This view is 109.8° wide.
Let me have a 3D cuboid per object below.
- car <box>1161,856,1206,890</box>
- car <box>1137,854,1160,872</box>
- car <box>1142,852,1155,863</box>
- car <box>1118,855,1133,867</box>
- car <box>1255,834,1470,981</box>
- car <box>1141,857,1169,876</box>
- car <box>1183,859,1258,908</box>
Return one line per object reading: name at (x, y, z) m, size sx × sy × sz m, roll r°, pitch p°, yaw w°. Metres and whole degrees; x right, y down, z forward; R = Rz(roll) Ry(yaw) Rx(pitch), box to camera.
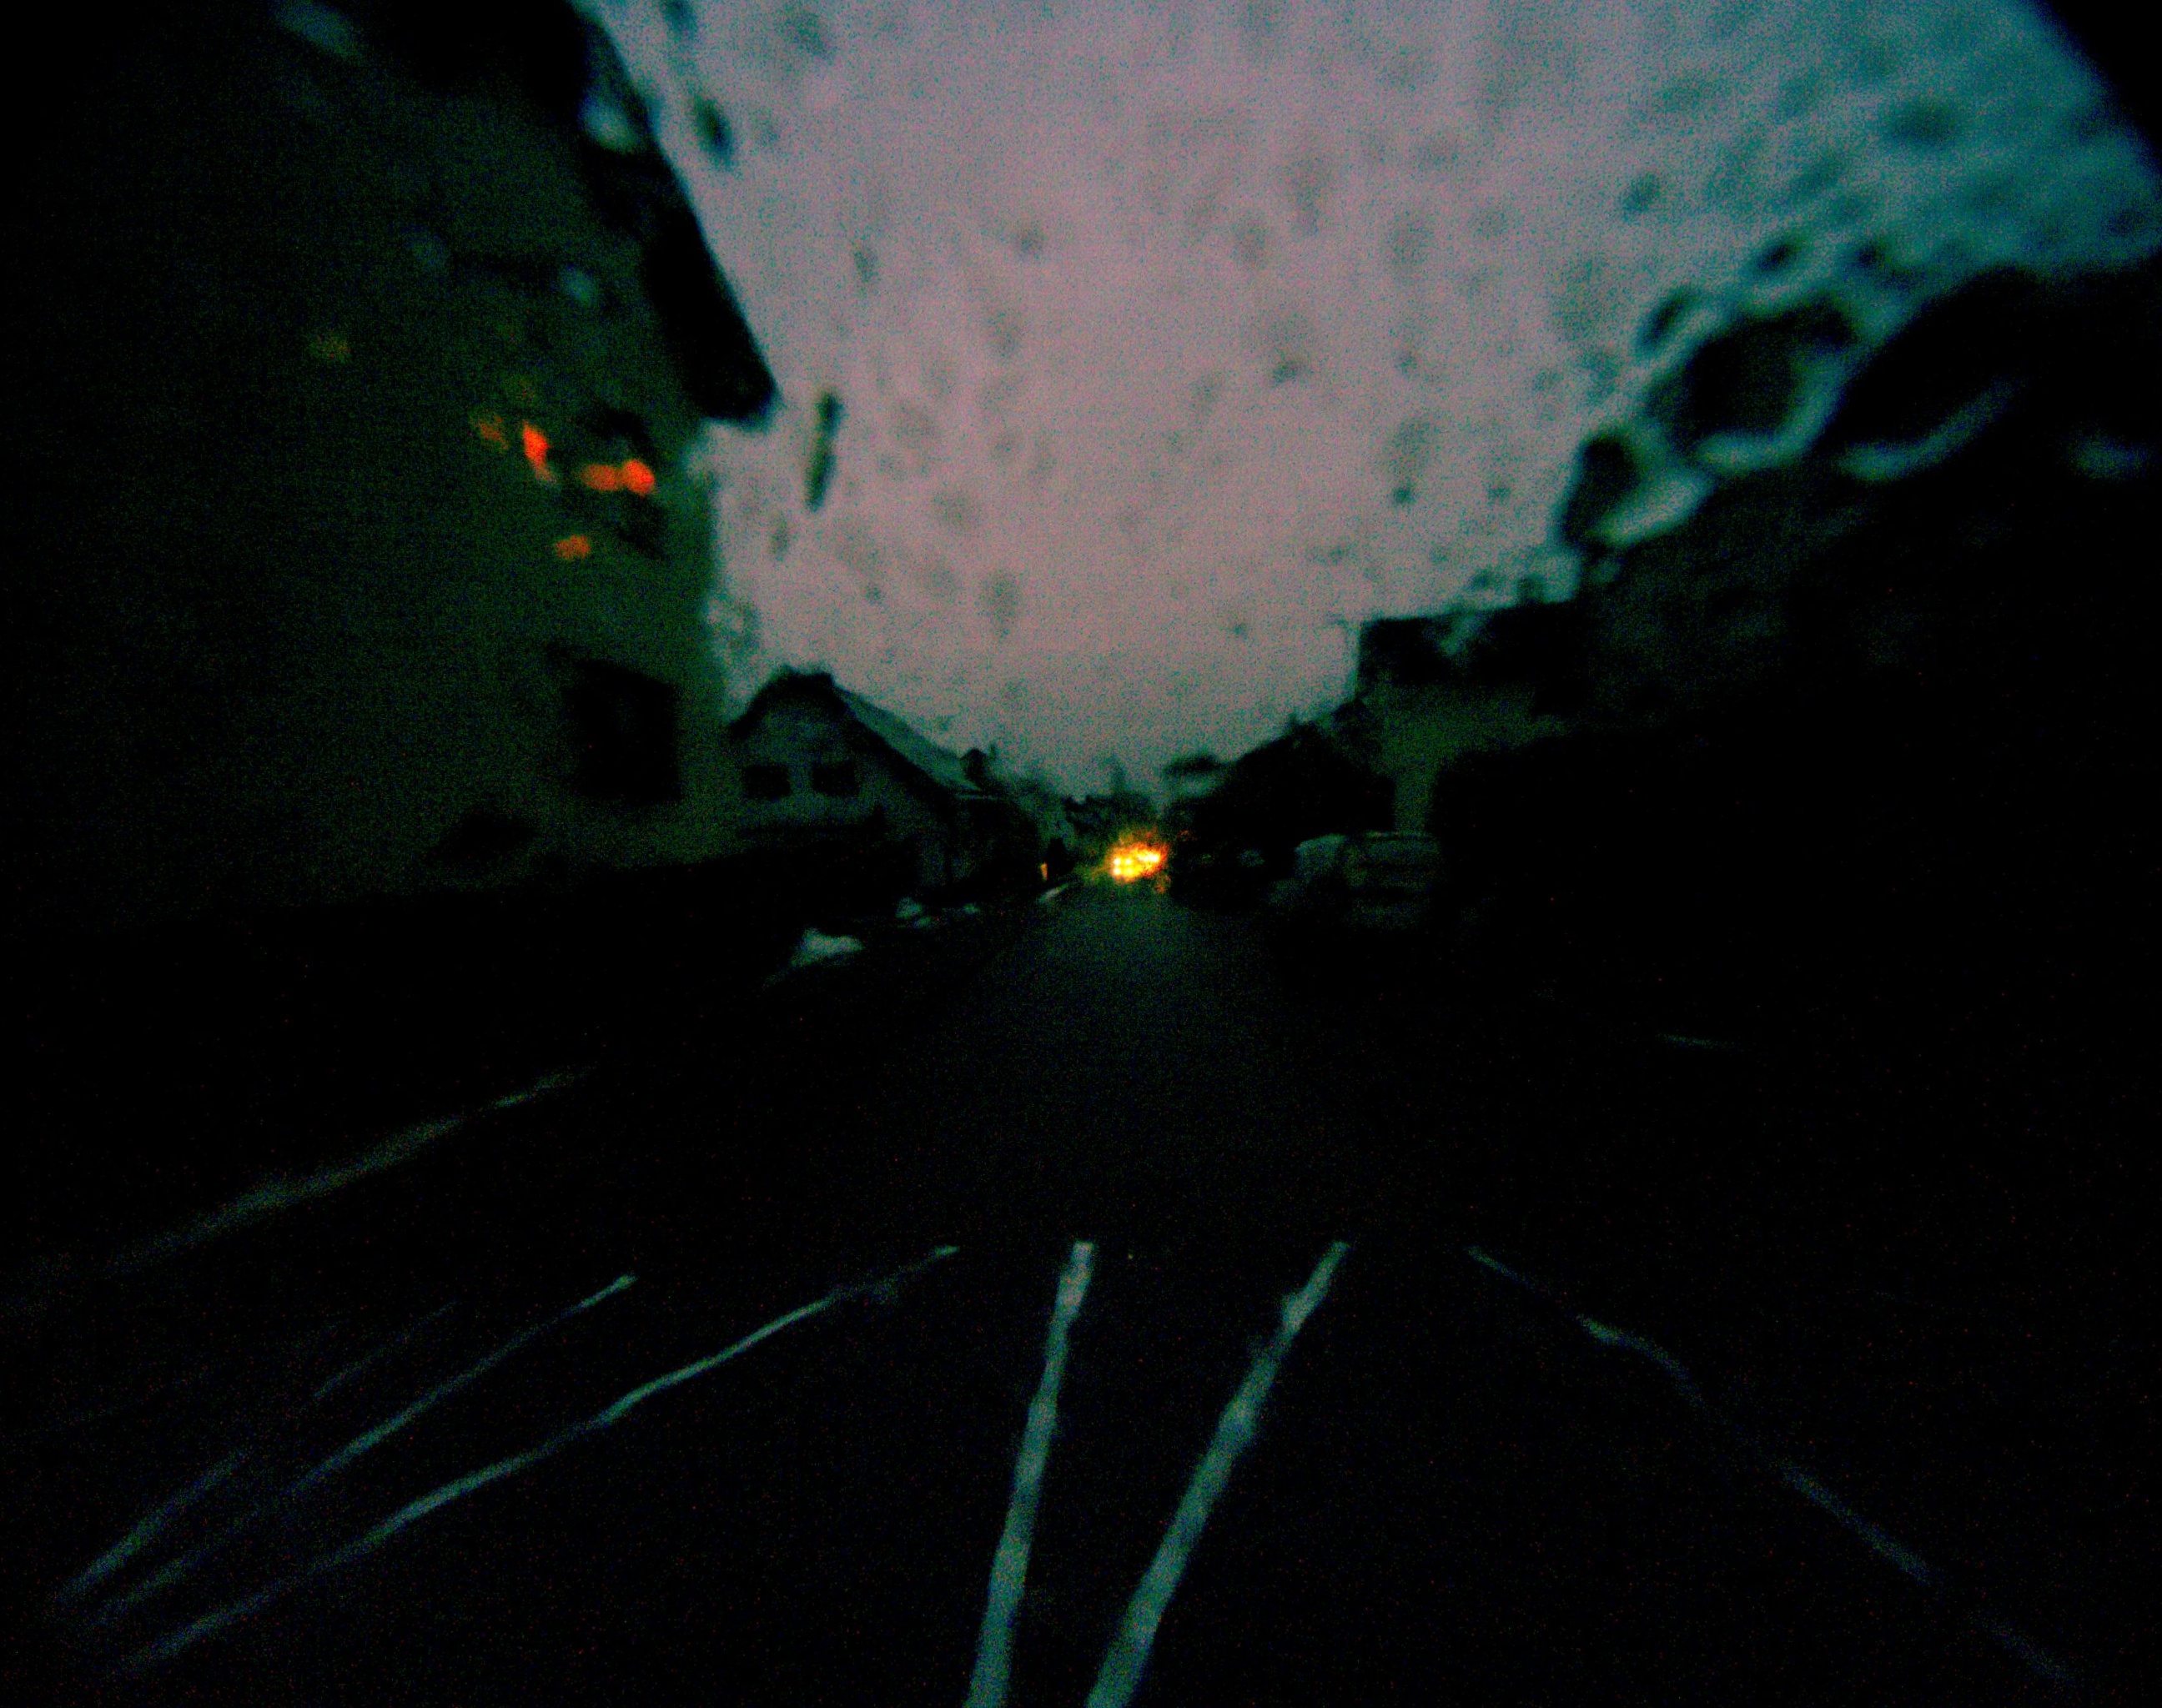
car at (4.909, 0.876, 36.942) m, size 1.767 × 1.543 × 4.000 m, roll -1°, pitch 0°, yaw 2°
car at (6.366, 0.832, 72.015) m, size 1.720 × 1.616 × 3.730 m, roll -1°, pitch 1°, yaw -1°
car at (10.979, 0.525, 123.390) m, size 1.793 × 1.764 × 3.891 m, roll -1°, pitch 1°, yaw 9°
car at (6.205, 0.977, 105.895) m, size 1.755 × 1.487 × 4.252 m, roll -1°, pitch 1°, yaw 8°
car at (3.980, 0.678, 11.521) m, size 1.775 × 1.782 × 4.129 m, roll -1°, pitch 0°, yaw 1°
car at (5.765, 0.964, 59.298) m, size 1.720 × 1.404 × 3.730 m, roll -1°, pitch 1°, yaw -1°
car at (4.517, 0.910, 25.103) m, size 1.829 × 1.457 × 4.000 m, roll -1°, pitch 0°, yaw 1°
